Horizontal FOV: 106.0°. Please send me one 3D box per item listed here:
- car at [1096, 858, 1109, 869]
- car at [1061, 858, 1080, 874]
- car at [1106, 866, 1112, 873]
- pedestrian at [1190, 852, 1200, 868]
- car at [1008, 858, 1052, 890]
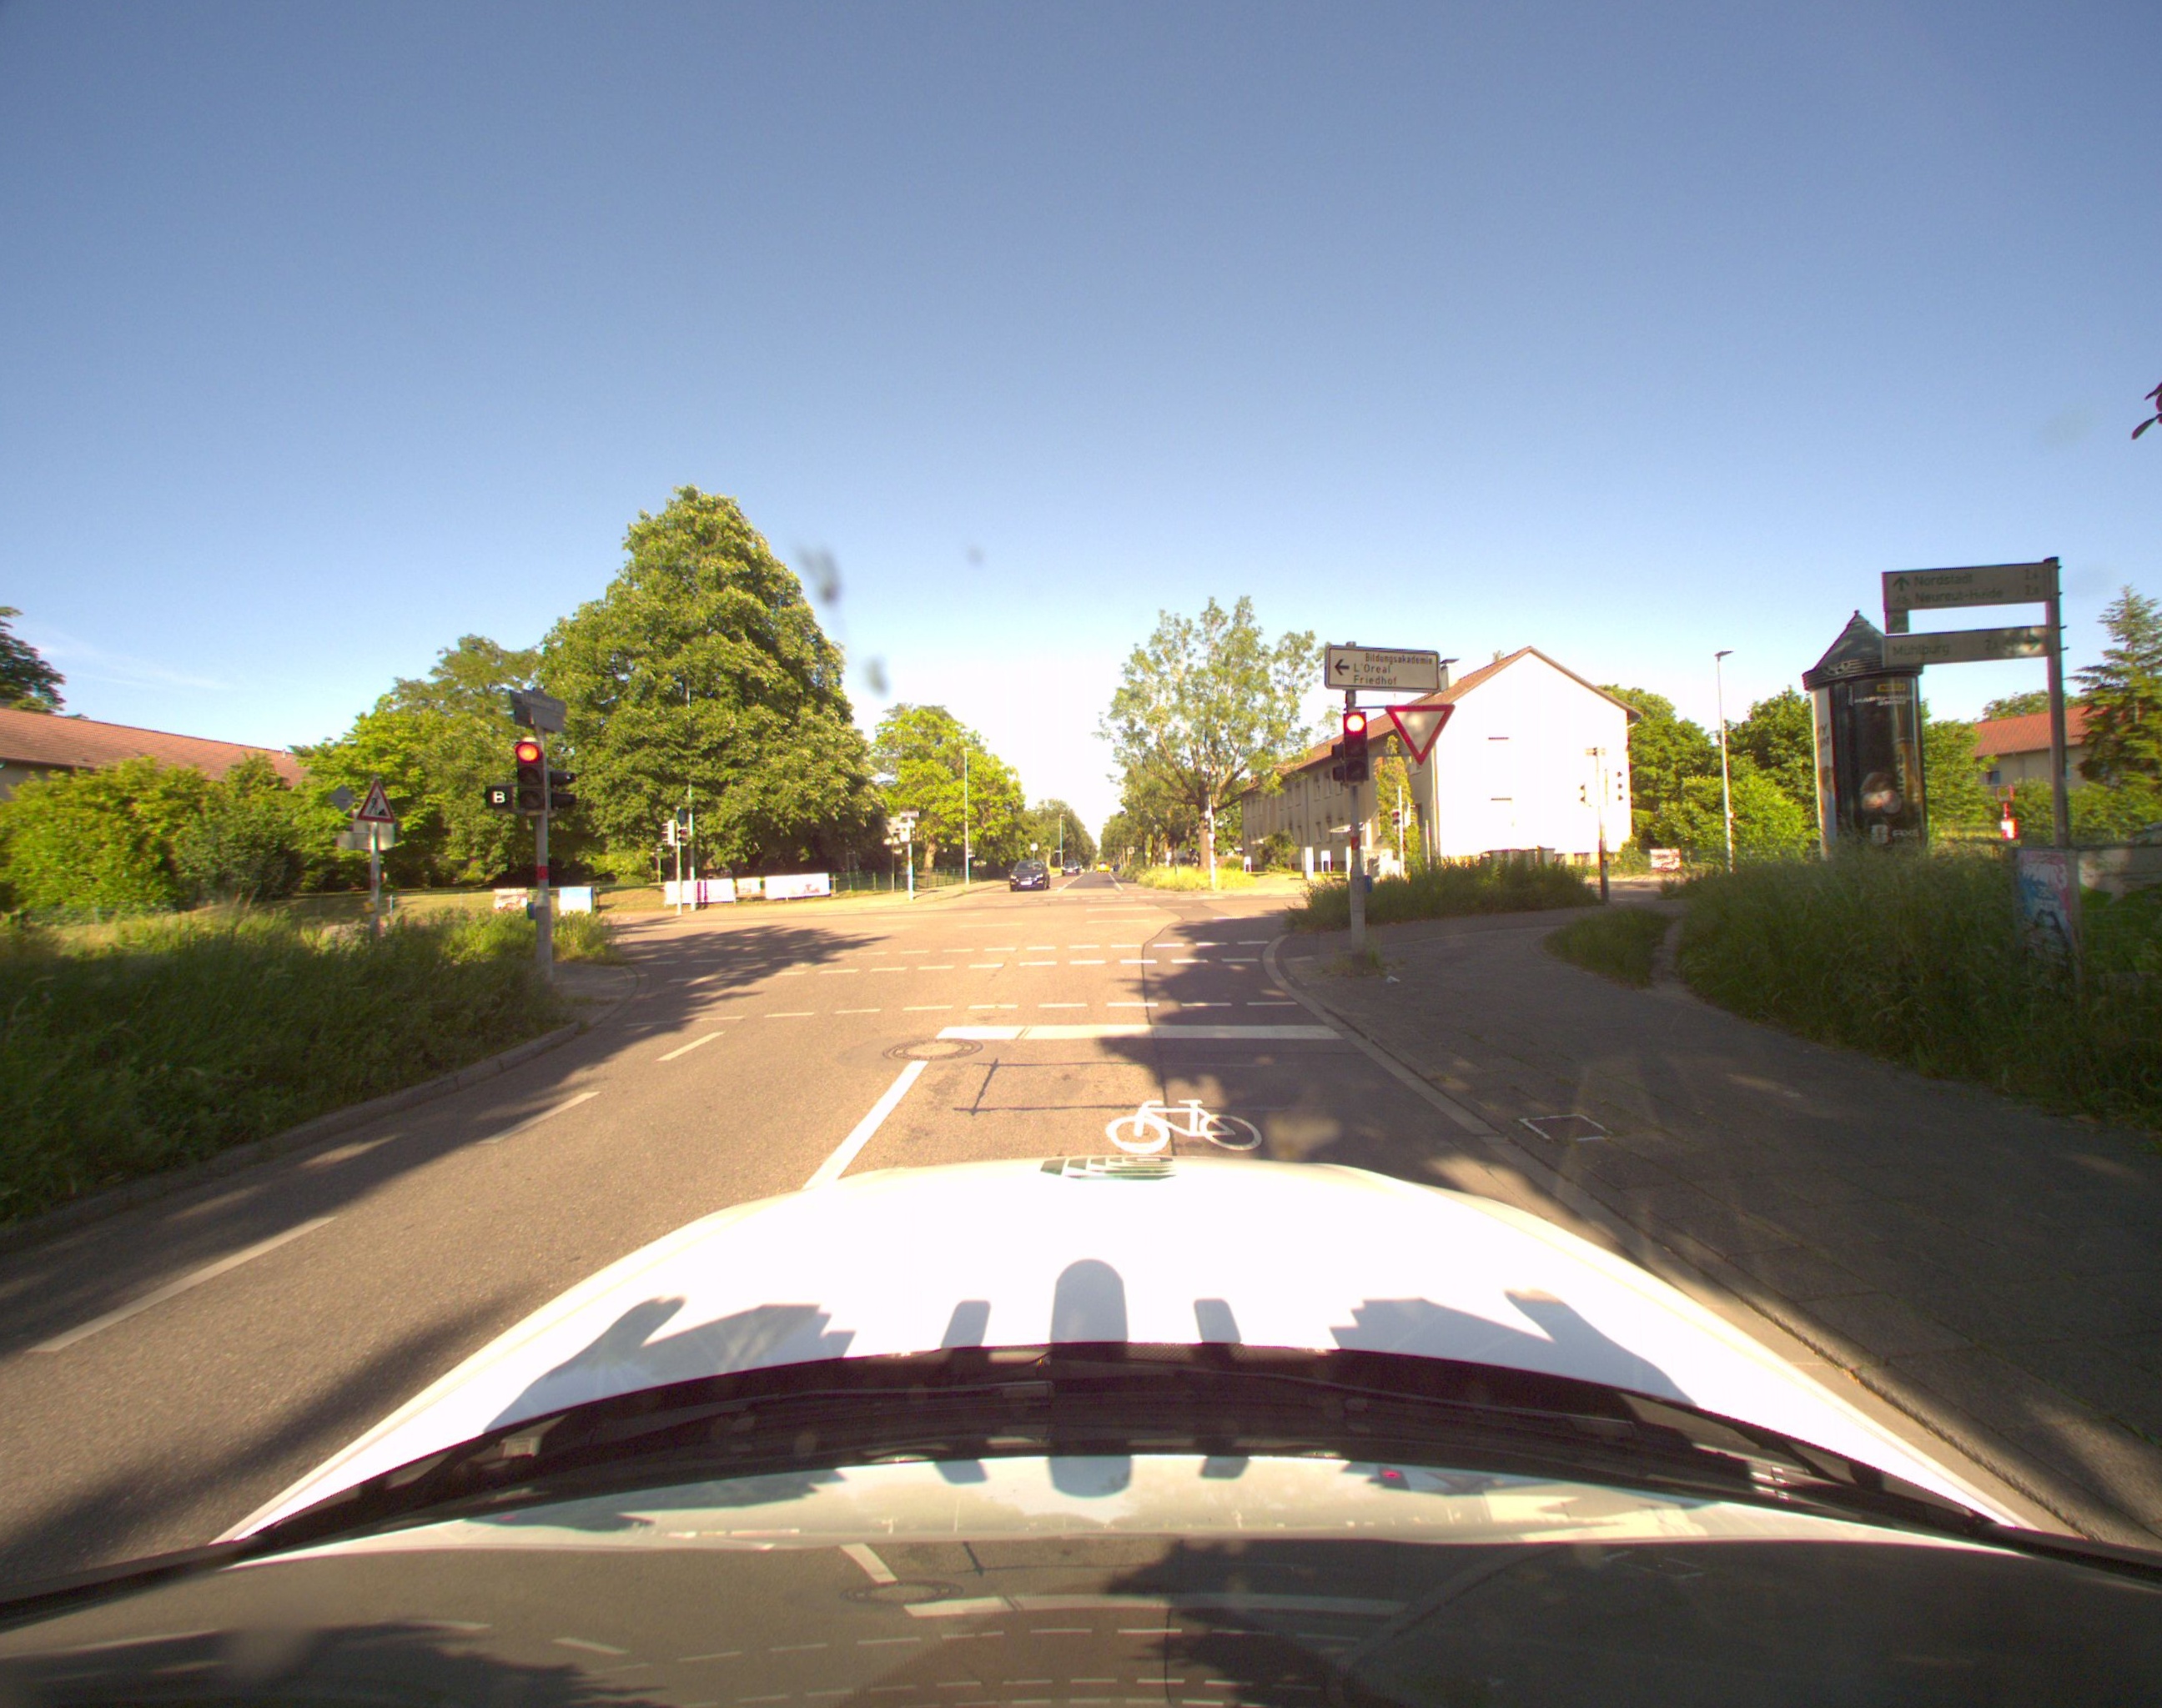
[{"bbox_3d":[2.979,1.341,113.739,1.745,1.582,4.002,-1,-1,2],"label":"car"},{"bbox_3d":[-1.085,1.254,87.443,1.751,1.624,3.271,-2,0,3],"label":"car"},{"bbox_3d":[7.547,4.155,219.278,1.766,1.754,4.002,-1,-1,2],"label":"car"},{"bbox_3d":[10.513,0.527,75.015,0.839,1.493,0.924,1,0,1],"label":"pedestrian"},{"bbox_3d":[-2.379,0.918,38.814,1.704,1.385,3.473,-2,0,3],"label":"car"}]
